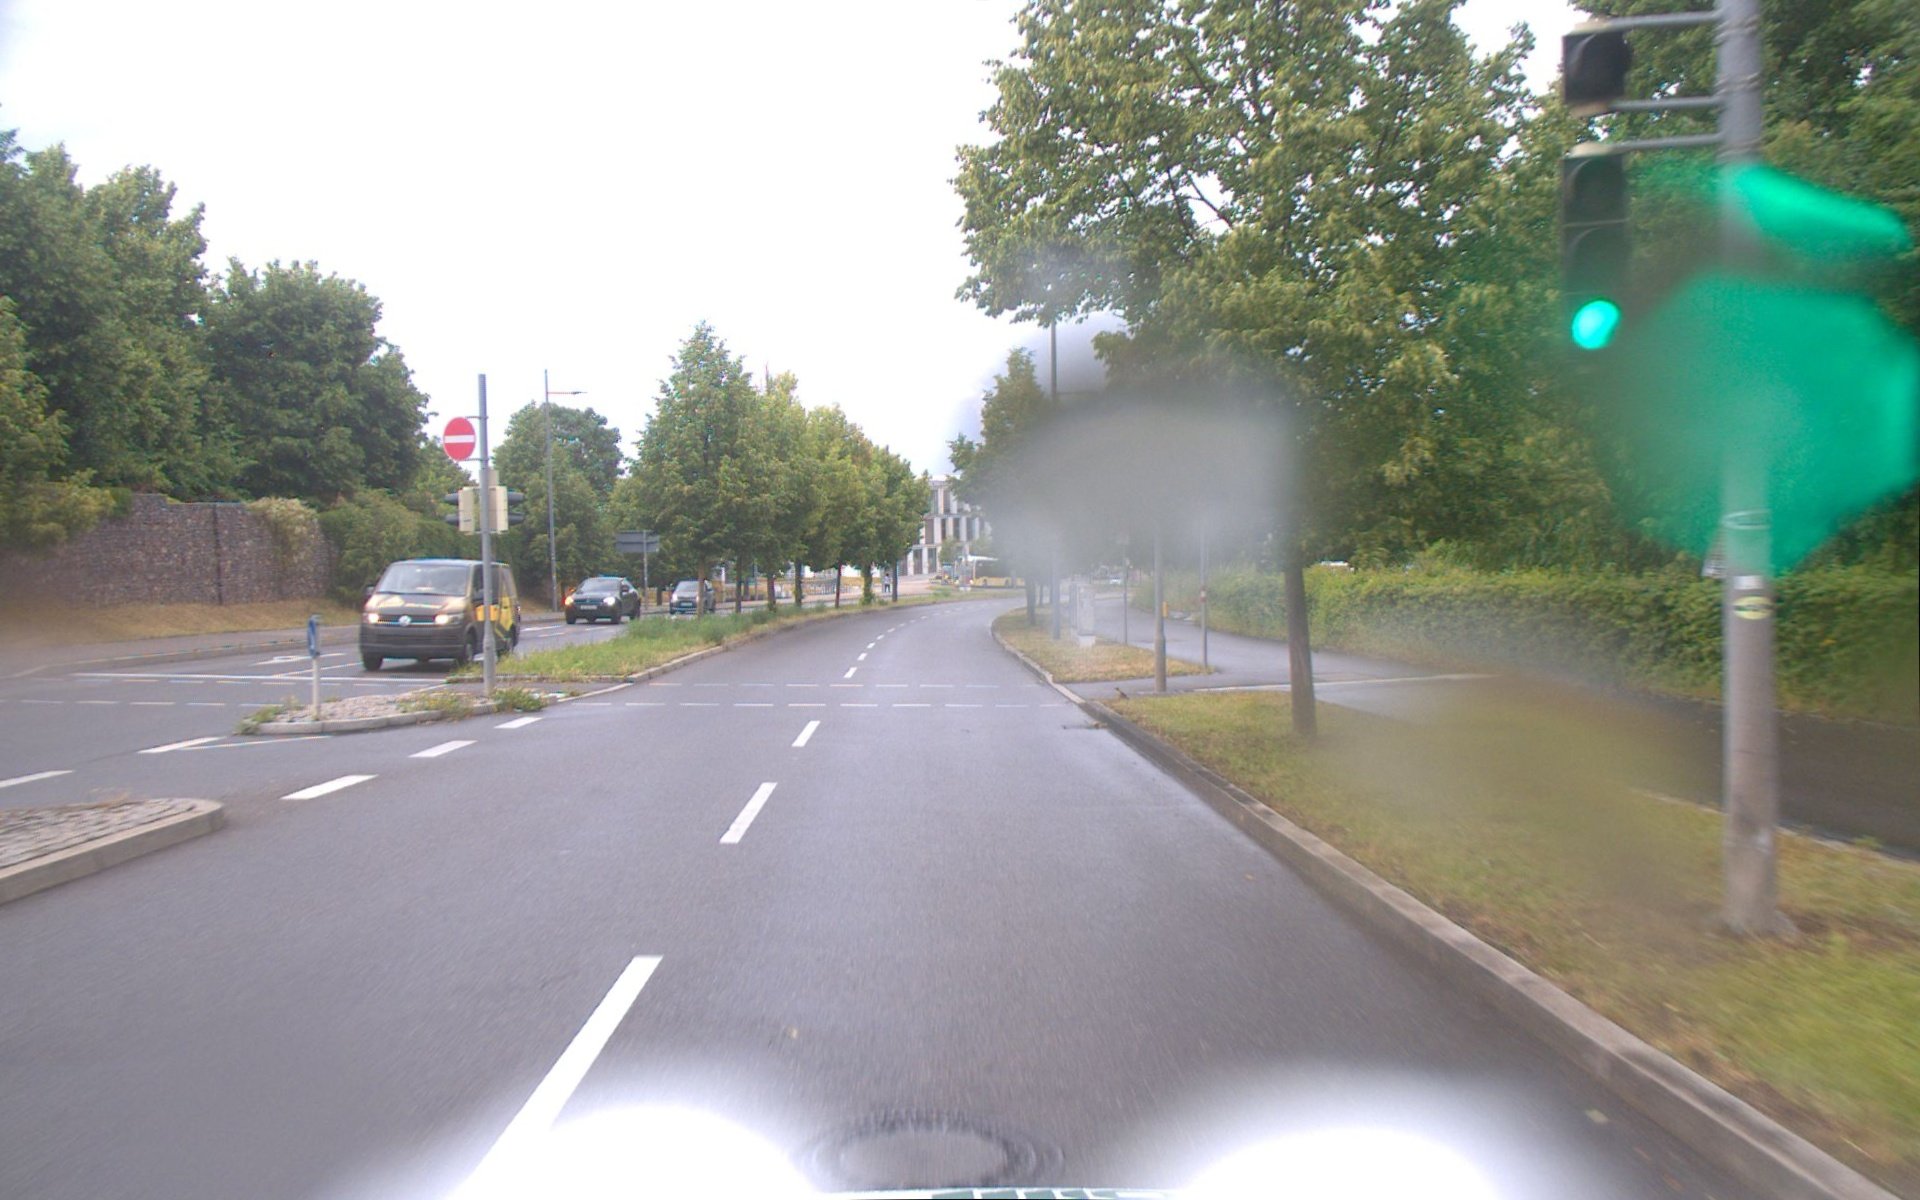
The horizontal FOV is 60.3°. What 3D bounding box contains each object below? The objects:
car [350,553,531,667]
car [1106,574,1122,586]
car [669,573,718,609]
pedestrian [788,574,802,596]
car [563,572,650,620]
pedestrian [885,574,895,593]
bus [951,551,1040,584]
[{"bbox_3d":[-9.580,0.129,30.951,1.973,1.952,5.093,0,1,-2],"label":"car"},{"bbox_3d":[21.004,-2.706,225.633,1.448,1.520,2.529,0,0,24],"label":"car"},{"bbox_3d":[-12.202,-0.432,75.743,1.651,1.566,2.917,0,2,2],"label":"car"},{"bbox_3d":[-12.513,-1.113,125.563,0.796,1.649,0.936,0,0,11],"label":"pedestrian"},{"bbox_3d":[-12.606,-0.183,59.244,1.842,1.623,4.769,1,1,3],"label":"car"},{"bbox_3d":[-6.065,-1.429,143.516,0.818,1.601,0.718,0,0,-6],"label":"pedestrian"},{"bbox_3d":[4.256,-3.631,186.737,2.730,3.416,18.210,0,0,26],"label":"bus"}]
